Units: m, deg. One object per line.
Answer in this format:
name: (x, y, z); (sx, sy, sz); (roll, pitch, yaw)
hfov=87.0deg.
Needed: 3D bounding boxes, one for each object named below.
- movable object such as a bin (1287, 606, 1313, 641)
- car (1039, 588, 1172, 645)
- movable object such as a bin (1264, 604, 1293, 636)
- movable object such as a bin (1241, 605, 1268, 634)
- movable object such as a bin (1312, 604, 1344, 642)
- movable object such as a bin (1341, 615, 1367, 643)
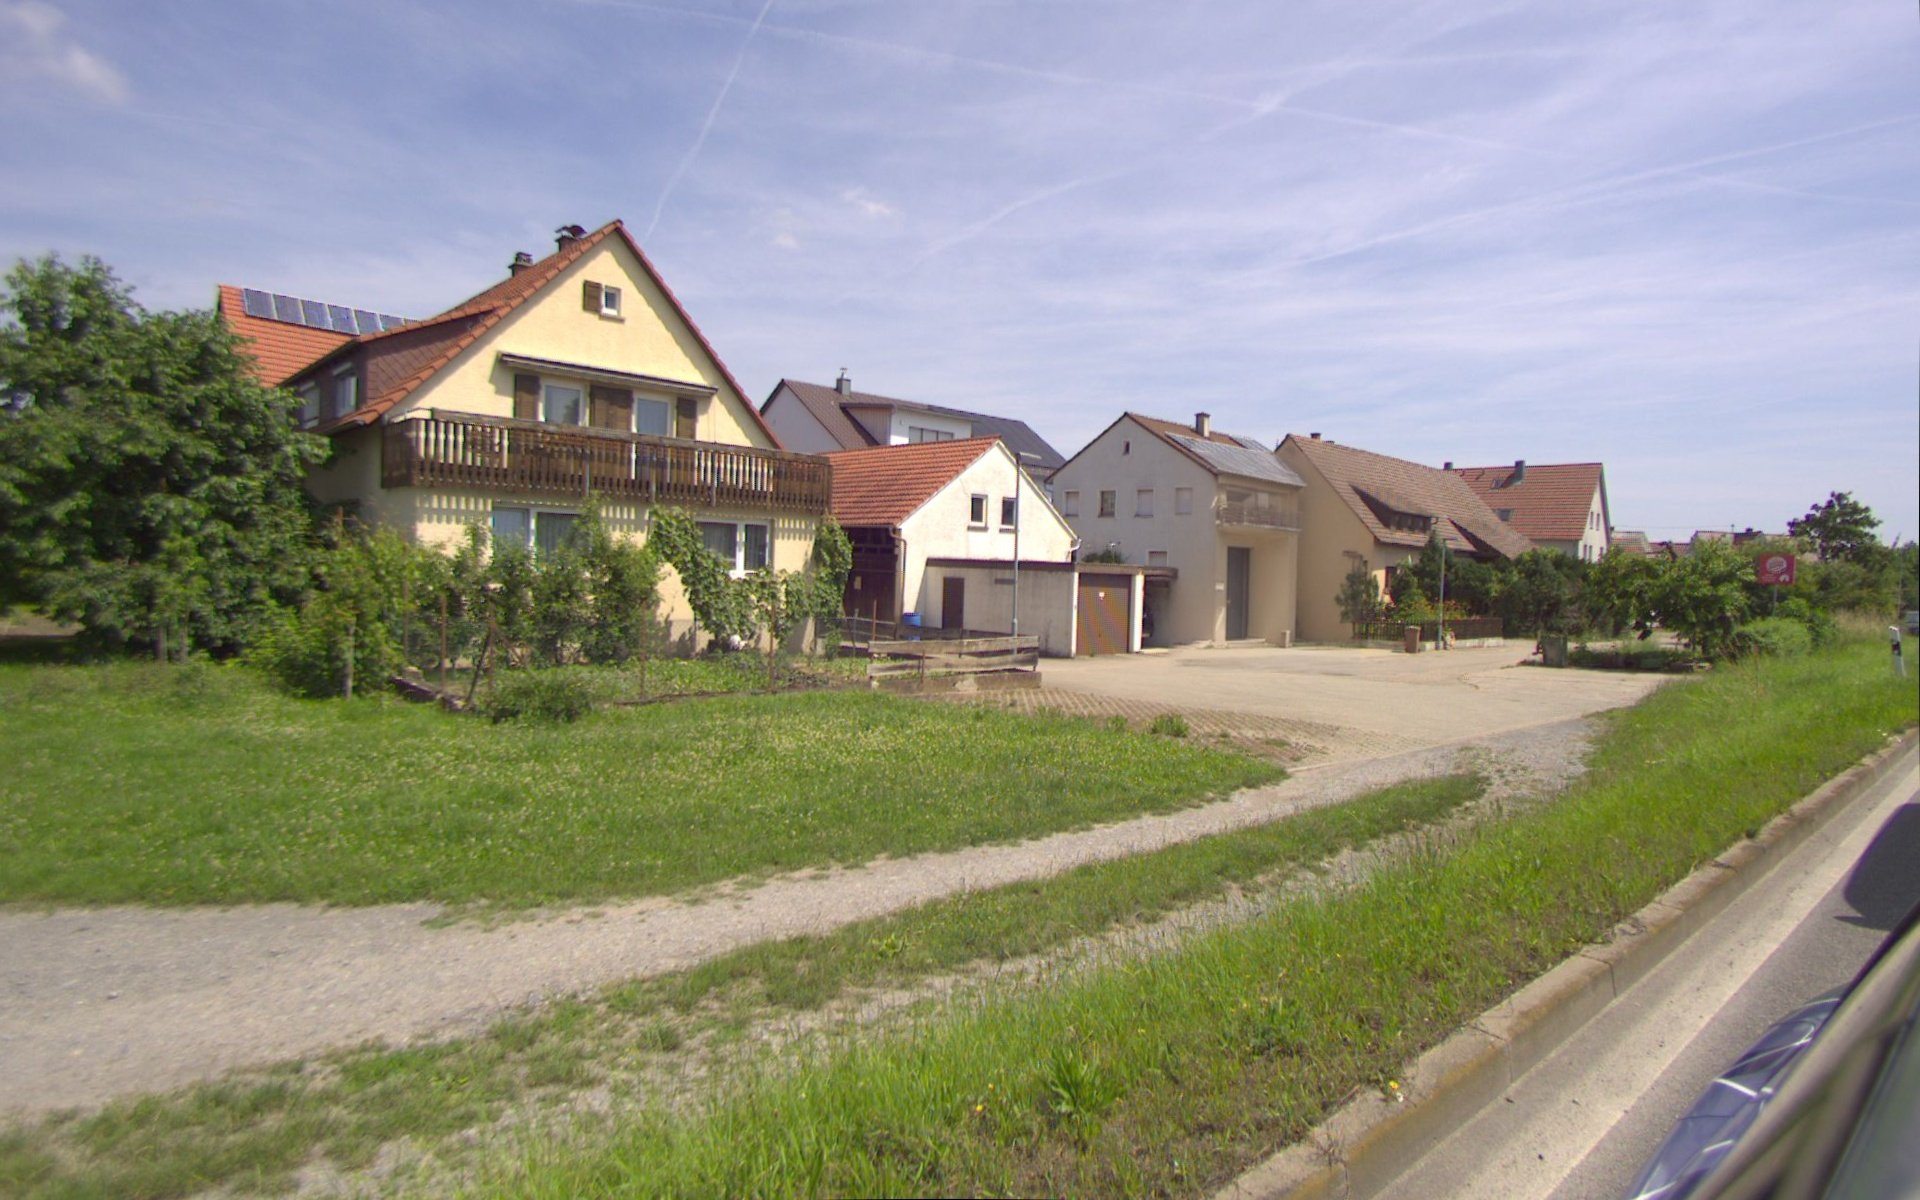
movable object such as a bin: (13.260, 0.916, 39.478); (0.806, 1.355, 0.677); (1, 0, -42)
car: (4.563, 0.473, 32.142); (1.794, 1.624, 3.995); (1, 1, -40)
movable object such as a bin: (12.645, 0.787, 40.157); (0.874, 1.262, 0.744); (1, 0, -42)
movable object such as a bin: (11.851, 0.778, 40.694); (0.816, 1.171, 0.739); (1, 0, -42)
movable object such as a bin: (13.915, 0.856, 38.265); (0.930, 1.387, 0.764); (1, 0, -42)
movable object such as a bin: (14.632, 1.069, 37.563); (0.743, 1.040, 0.645); (1, 0, -42)
